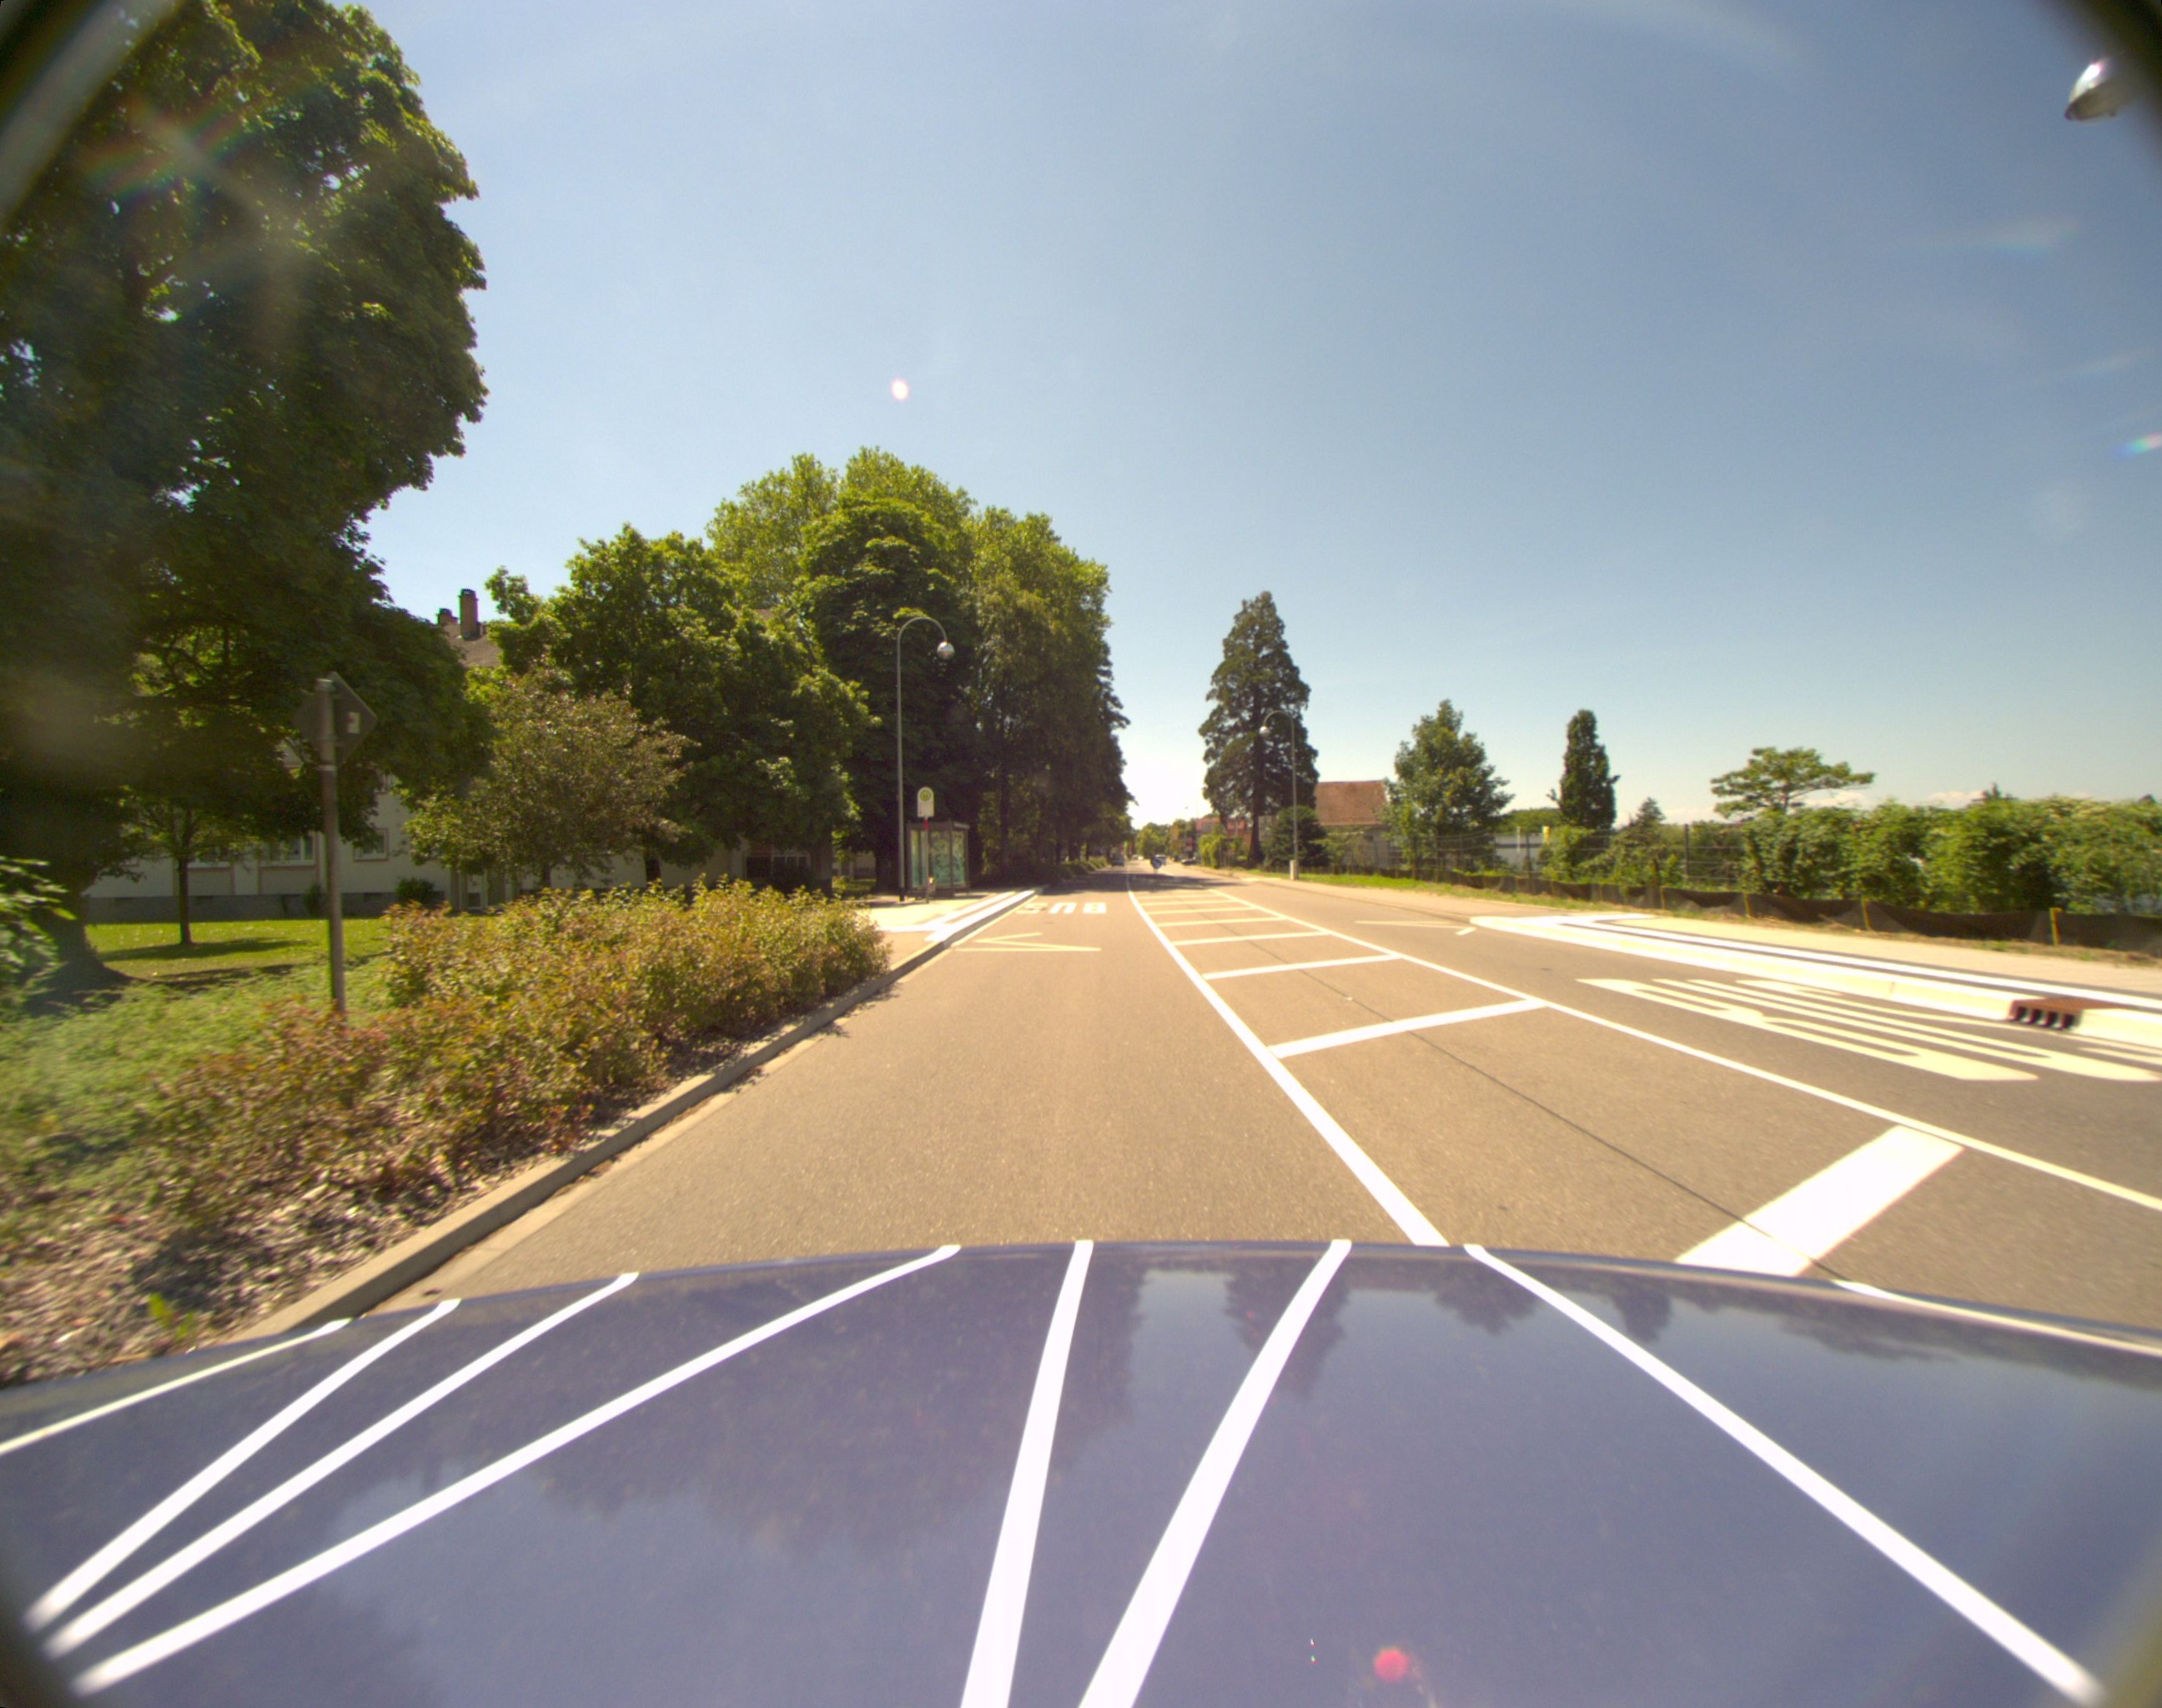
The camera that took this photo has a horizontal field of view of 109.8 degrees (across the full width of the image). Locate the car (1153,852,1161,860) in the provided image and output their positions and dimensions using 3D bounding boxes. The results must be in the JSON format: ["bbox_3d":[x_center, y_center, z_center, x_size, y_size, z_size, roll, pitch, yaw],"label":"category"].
[{"bbox_3d":[16.734,0.467,167.586,1.883,1.731,4.322,0,0,5],"label":"car"}]

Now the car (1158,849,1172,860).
[{"bbox_3d":[13.440,0.103,121.486,1.787,1.635,4.689,1,0,2],"label":"car"}]

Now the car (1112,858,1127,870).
[{"bbox_3d":[5.407,1.333,106.031,1.883,1.623,4.322,0,0,5],"label":"car"}]

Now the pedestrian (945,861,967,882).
[{"bbox_3d":[-7.825,1.091,47.571,0.940,1.285,1.070,-1,1,15],"label":"pedestrian"}]
